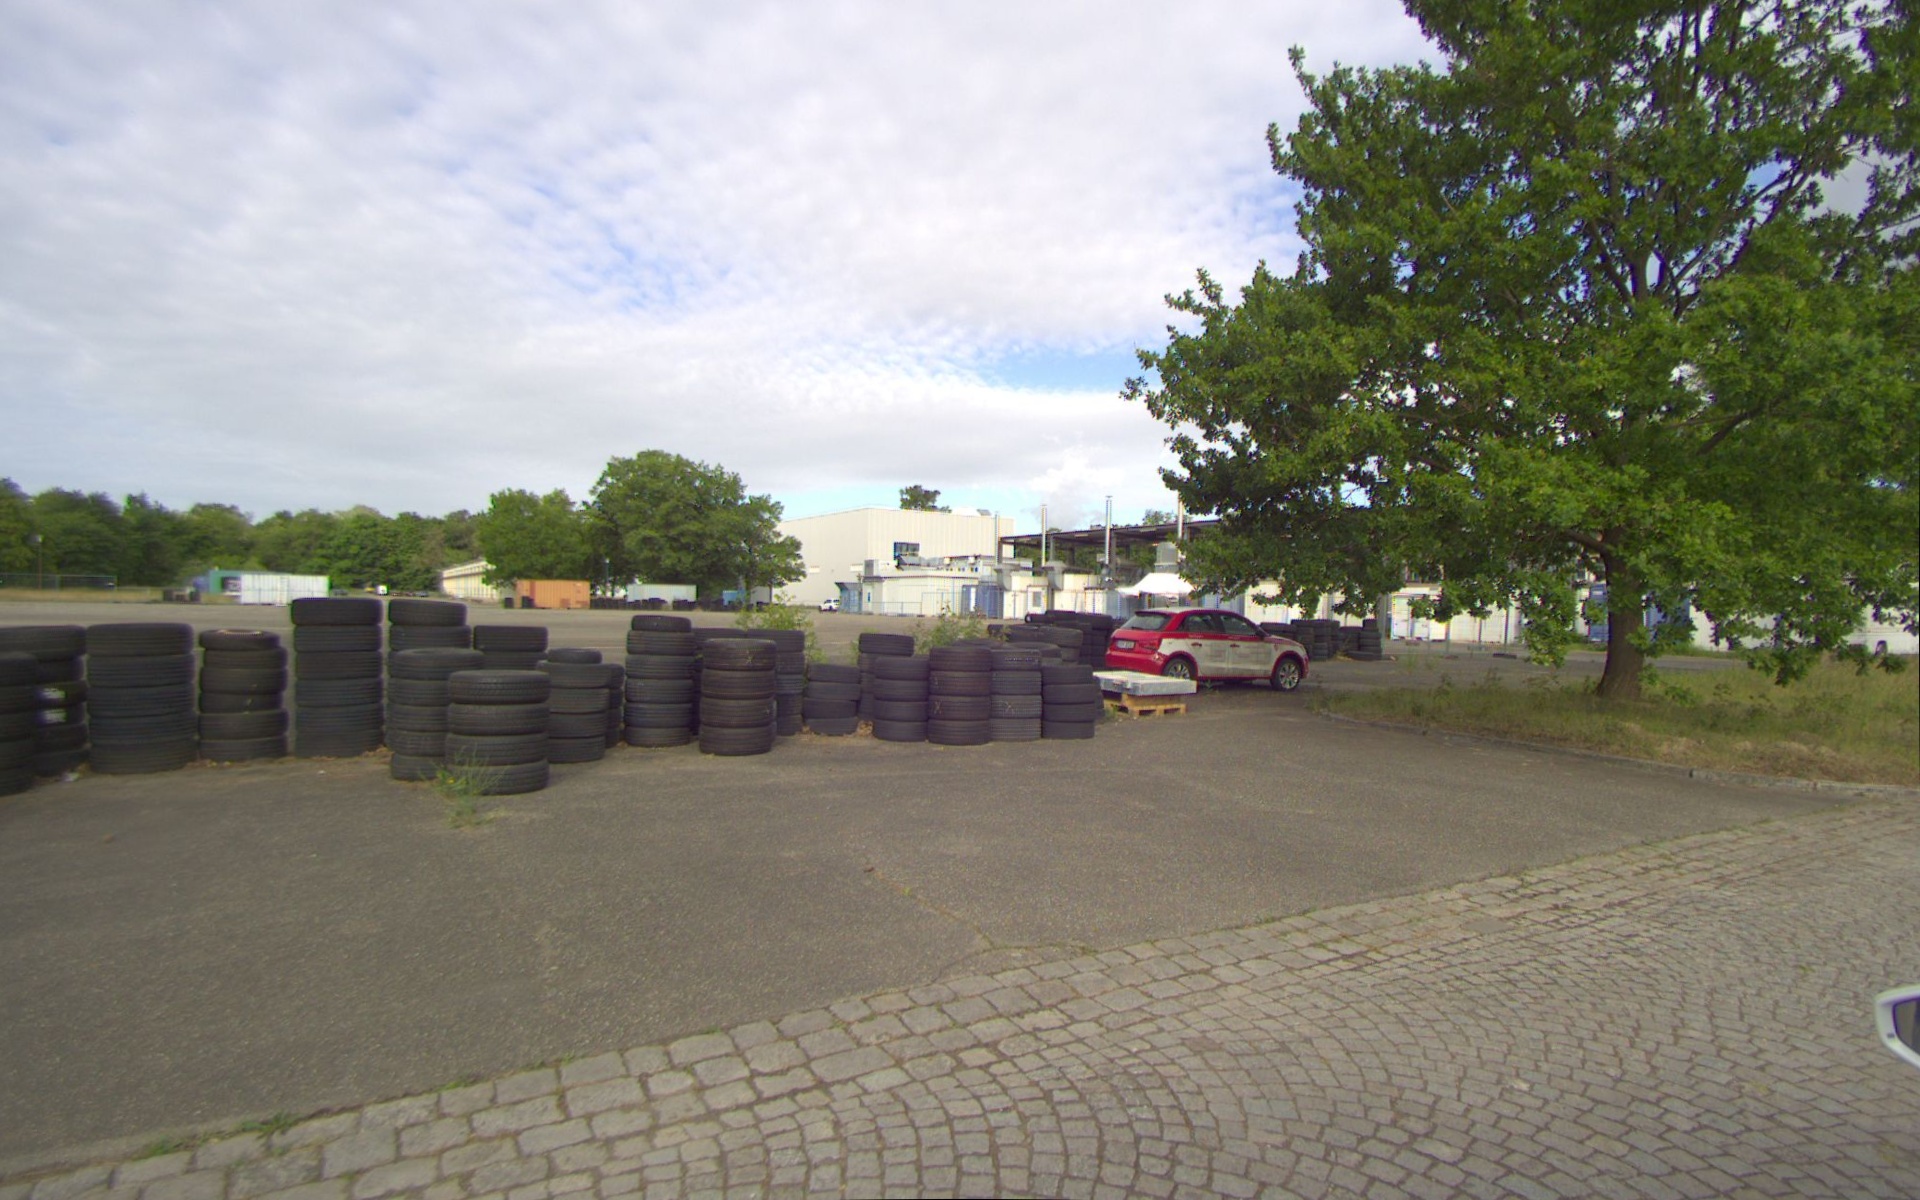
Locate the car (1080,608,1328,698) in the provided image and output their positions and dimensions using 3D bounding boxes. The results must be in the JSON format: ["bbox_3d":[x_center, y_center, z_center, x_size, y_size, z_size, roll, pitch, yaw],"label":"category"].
[{"bbox_3d":[4.440,0.920,18.230,4.162,1.451,1.818,1,0,-26],"label":"car"}]

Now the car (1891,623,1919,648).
[{"bbox_3d":[64.751,2.385,67.701,3.953,1.596,1.892,1,0,-30],"label":"car"}]

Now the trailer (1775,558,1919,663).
[{"bbox_3d":[36.240,0.487,39.575,10.591,3.755,2.645,1,0,-29],"label":"trailer"}]
